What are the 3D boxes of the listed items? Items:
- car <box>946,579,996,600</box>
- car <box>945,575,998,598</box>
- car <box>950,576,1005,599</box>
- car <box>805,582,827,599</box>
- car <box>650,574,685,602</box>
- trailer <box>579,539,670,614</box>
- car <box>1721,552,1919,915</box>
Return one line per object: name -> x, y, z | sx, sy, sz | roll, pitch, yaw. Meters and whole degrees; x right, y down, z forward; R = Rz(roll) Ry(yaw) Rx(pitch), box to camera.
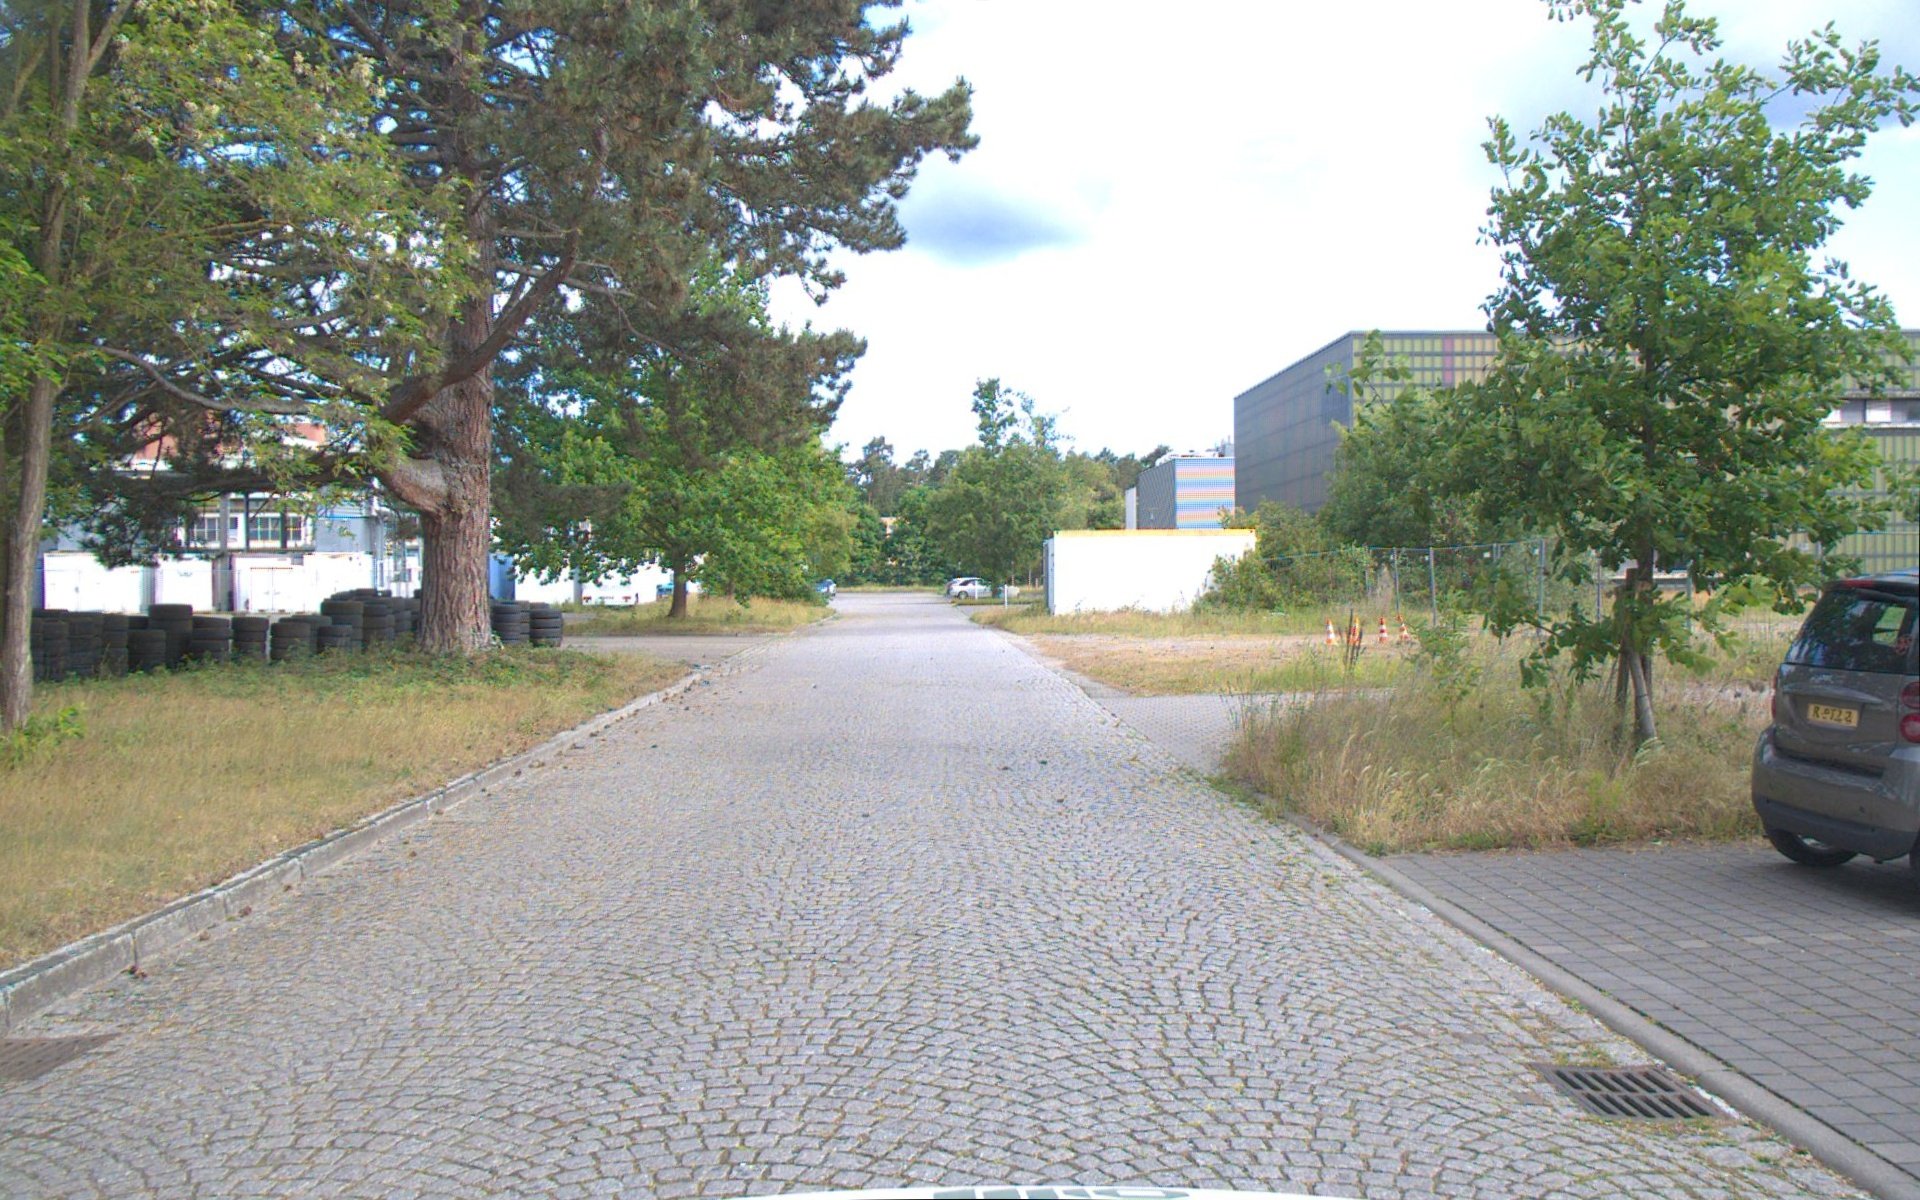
car -> 0.794, -0.751, 117.795 | 3.451, 1.386, 1.622 | -3, 1, -2
car -> 0.833, -1.012, 125.624 | 3.904, 1.501, 1.653 | -3, 1, -2
car -> 1.235, -0.897, 120.506 | 3.904, 1.473, 1.653 | -3, 1, -2
car -> -12.045, -0.793, 138.893 | 1.614, 1.393, 3.996 | -1, 1, -2
car -> -22.345, -0.943, 126.481 | 1.953, 2.049, 4.766 | 0, 1, -1
trailer -> -17.484, -1.208, 86.896 | 2.571, 3.660, 10.178 | -1, 1, 0
car -> 5.486, 0.530, 8.159 | 2.655, 1.583, 1.653 | -2, 1, -1
